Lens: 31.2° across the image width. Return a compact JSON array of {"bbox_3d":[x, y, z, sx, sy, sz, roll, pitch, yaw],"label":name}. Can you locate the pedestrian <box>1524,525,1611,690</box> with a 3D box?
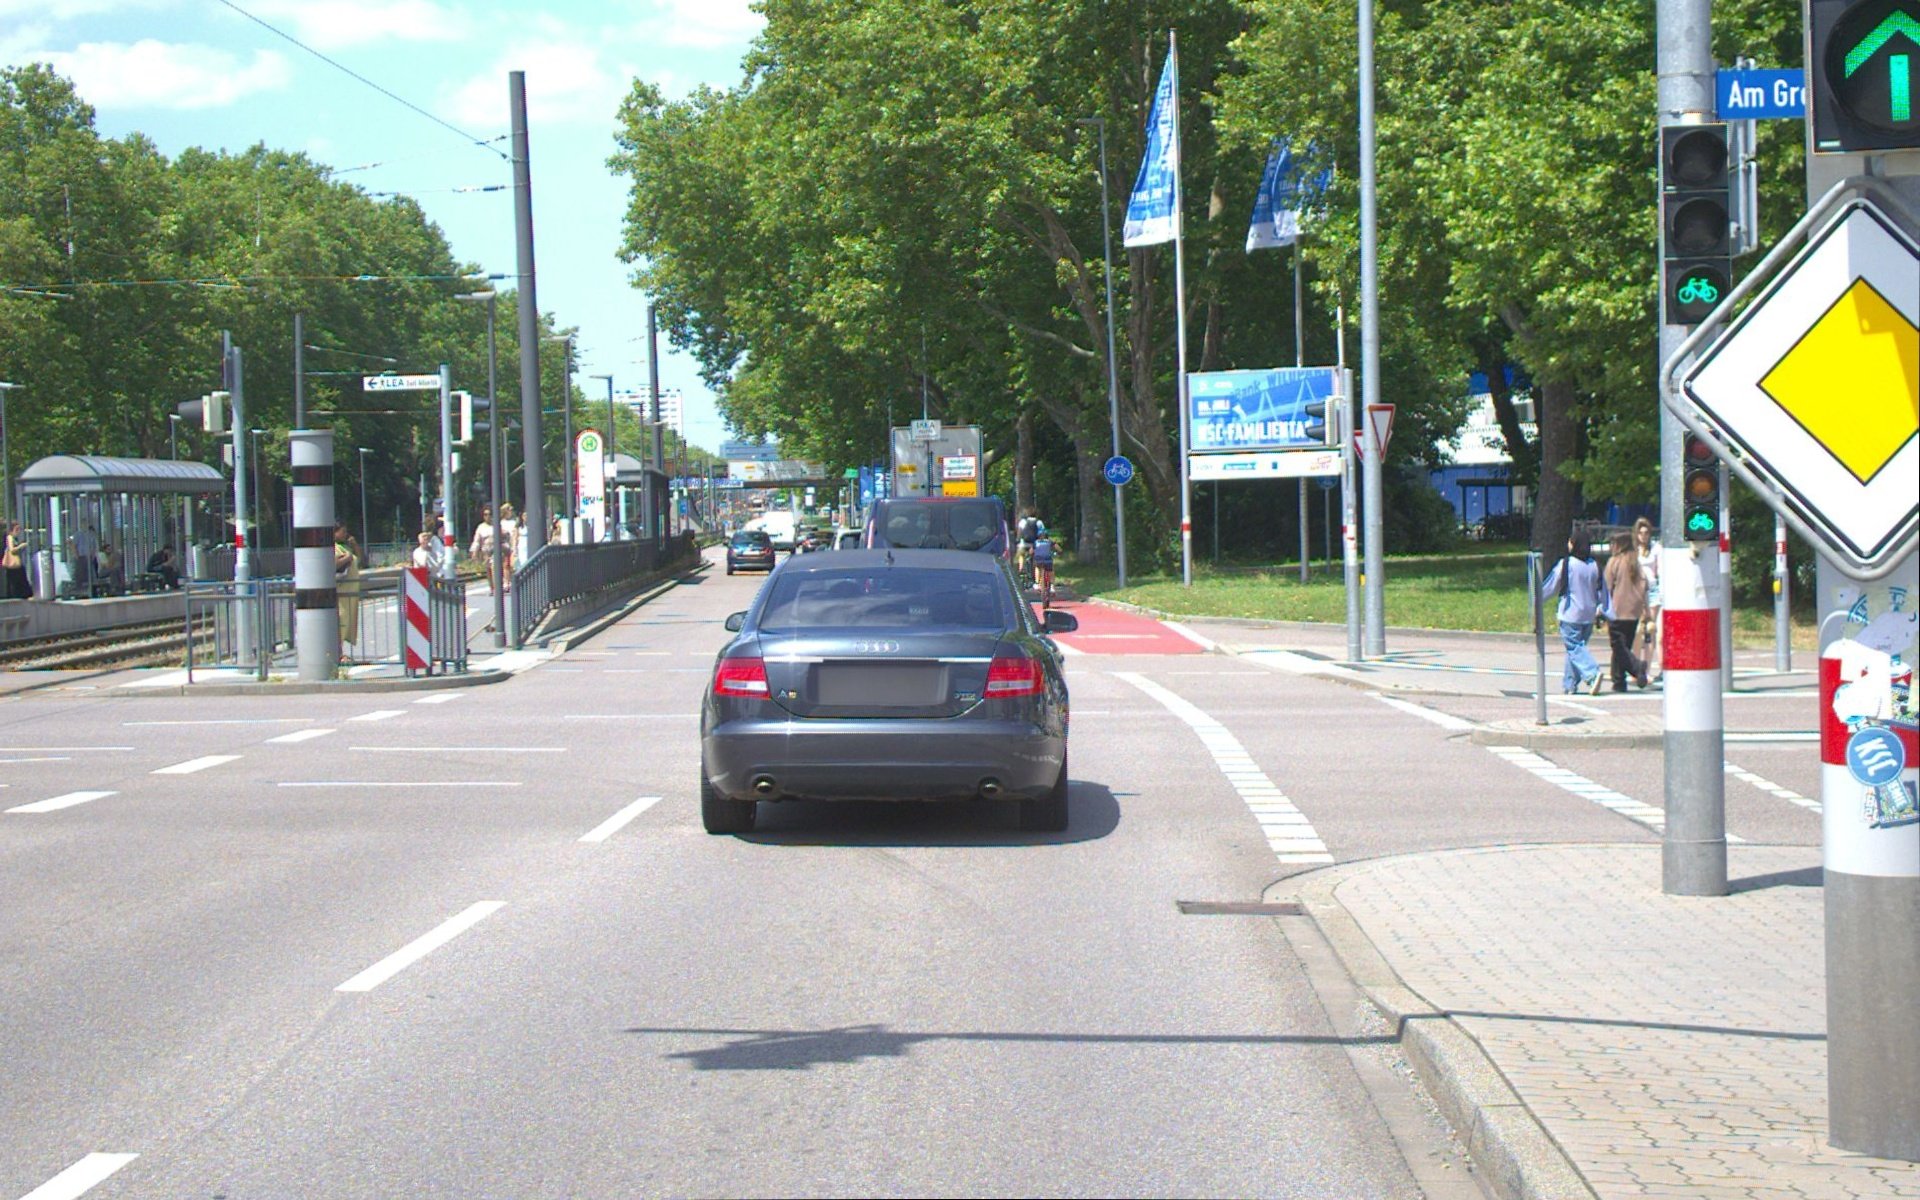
[{"bbox_3d":[5.992,0.060,33.868,0.766,1.600,0.896,0,1,15],"label":"pedestrian"}]

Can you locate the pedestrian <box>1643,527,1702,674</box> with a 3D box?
[{"bbox_3d":[7.711,0.000,37.227,0.527,1.574,0.612,0,1,2],"label":"pedestrian"}]

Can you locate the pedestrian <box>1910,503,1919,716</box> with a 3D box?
[{"bbox_3d":[7.693,0.072,26.697,0.606,1.632,0.863,0,0,15],"label":"pedestrian"}]

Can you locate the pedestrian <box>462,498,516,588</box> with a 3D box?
[{"bbox_3d":[-8.481,-1.037,61.927,0.890,1.599,0.924,-1,2,-4],"label":"pedestrian"}]

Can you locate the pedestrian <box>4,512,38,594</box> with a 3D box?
[{"bbox_3d":[-18.885,-0.958,69.175,0.557,1.632,0.807,-1,1,-10],"label":"pedestrian"}]

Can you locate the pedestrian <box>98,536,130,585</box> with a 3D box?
[{"bbox_3d":[-19.366,-0.907,78.721,0.576,1.091,0.639,-1,2,-2],"label":"pedestrian"}]

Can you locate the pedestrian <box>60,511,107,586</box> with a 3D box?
[{"bbox_3d":[-19.387,-1.136,76.060,0.827,1.633,0.577,0,2,35],"label":"pedestrian"}]

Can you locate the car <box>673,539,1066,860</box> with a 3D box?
[{"bbox_3d":[-0.385,0.433,18.142,1.842,1.479,4.000,0,1,1],"label":"car"}]

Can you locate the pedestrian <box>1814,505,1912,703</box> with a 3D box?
[{"bbox_3d":[7.690,0.022,29.291,0.795,1.653,0.851,0,1,14],"label":"pedestrian"}]

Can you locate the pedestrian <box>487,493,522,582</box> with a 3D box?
[{"bbox_3d":[-8.632,-1.181,65.197,0.613,1.675,0.720,0,1,-4],"label":"pedestrian"}]

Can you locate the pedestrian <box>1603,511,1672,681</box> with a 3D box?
[{"bbox_3d":[6.771,-0.050,34.353,0.623,1.677,0.725,0,1,15],"label":"pedestrian"}]

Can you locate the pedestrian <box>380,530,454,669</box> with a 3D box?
[{"bbox_3d":[-6.208,-0.011,39.327,0.785,1.567,0.765,0,1,-6],"label":"pedestrian"}]

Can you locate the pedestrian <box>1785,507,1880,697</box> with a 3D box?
[{"bbox_3d":[7.721,0.003,30.422,0.795,1.653,0.851,0,1,14],"label":"pedestrian"}]

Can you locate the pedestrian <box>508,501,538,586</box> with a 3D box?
[{"bbox_3d":[-8.121,-1.048,63.924,0.497,1.572,0.557,-1,1,-4],"label":"pedestrian"}]

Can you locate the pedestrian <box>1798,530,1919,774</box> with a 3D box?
[{"bbox_3d":[5.564,0.304,21.239,0.589,1.471,0.806,1,1,3],"label":"pedestrian"}]

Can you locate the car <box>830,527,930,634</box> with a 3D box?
[{"bbox_3d":[-1.513,-0.404,65.637,1.848,1.952,4.145,0,1,-1],"label":"car"}]

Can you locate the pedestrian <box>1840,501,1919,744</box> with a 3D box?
[{"bbox_3d":[6.645,0.143,24.082,0.782,1.667,0.946,0,1,5],"label":"pedestrian"}]

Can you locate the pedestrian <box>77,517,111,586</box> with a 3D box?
[{"bbox_3d":[-19.352,-1.095,76.834,0.576,1.528,0.639,-1,2,-2],"label":"pedestrian"}]

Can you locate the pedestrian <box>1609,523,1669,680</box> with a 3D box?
[{"bbox_3d":[7.237,0.007,36.631,0.527,1.660,0.640,0,1,2],"label":"pedestrian"}]

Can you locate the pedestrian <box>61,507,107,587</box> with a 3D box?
[{"bbox_3d":[-18.988,-1.154,74.546,0.738,1.723,0.577,0,2,35],"label":"pedestrian"}]

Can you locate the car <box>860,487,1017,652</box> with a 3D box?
[{"bbox_3d":[-0.293,-0.404,42.704,1.848,1.952,4.145,0,1,-1],"label":"car"}]

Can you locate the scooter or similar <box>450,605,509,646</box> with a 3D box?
[{"bbox_3d":[-6.105,0.323,43.708,0.726,0.504,0.457,-1,2,-6],"label":"scooter or similar"}]

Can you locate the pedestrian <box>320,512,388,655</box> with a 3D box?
[{"bbox_3d":[-7.165,-0.203,40.642,0.732,1.667,0.679,0,1,-6],"label":"pedestrian"}]

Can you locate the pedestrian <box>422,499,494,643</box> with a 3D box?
[{"bbox_3d":[-6.345,-0.379,43.466,0.862,1.796,0.884,0,1,-6],"label":"pedestrian"}]

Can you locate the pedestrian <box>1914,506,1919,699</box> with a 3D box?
[{"bbox_3d":[8.656,0.011,29.685,0.795,1.653,0.851,0,1,14],"label":"pedestrian"}]

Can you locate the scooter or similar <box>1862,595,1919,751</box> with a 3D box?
[{"bbox_3d":[6.598,0.491,23.518,0.689,1.027,0.863,0,1,5],"label":"scooter or similar"}]

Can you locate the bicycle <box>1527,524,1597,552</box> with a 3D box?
[{"bbox_3d":[21.292,-2.192,121.535,2.315,0.957,0.759,0,1,-7],"label":"bicycle"}]

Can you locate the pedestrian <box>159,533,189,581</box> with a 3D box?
[{"bbox_3d":[-19.729,-1.072,86.308,0.576,1.186,0.639,-1,2,-2],"label":"pedestrian"}]
